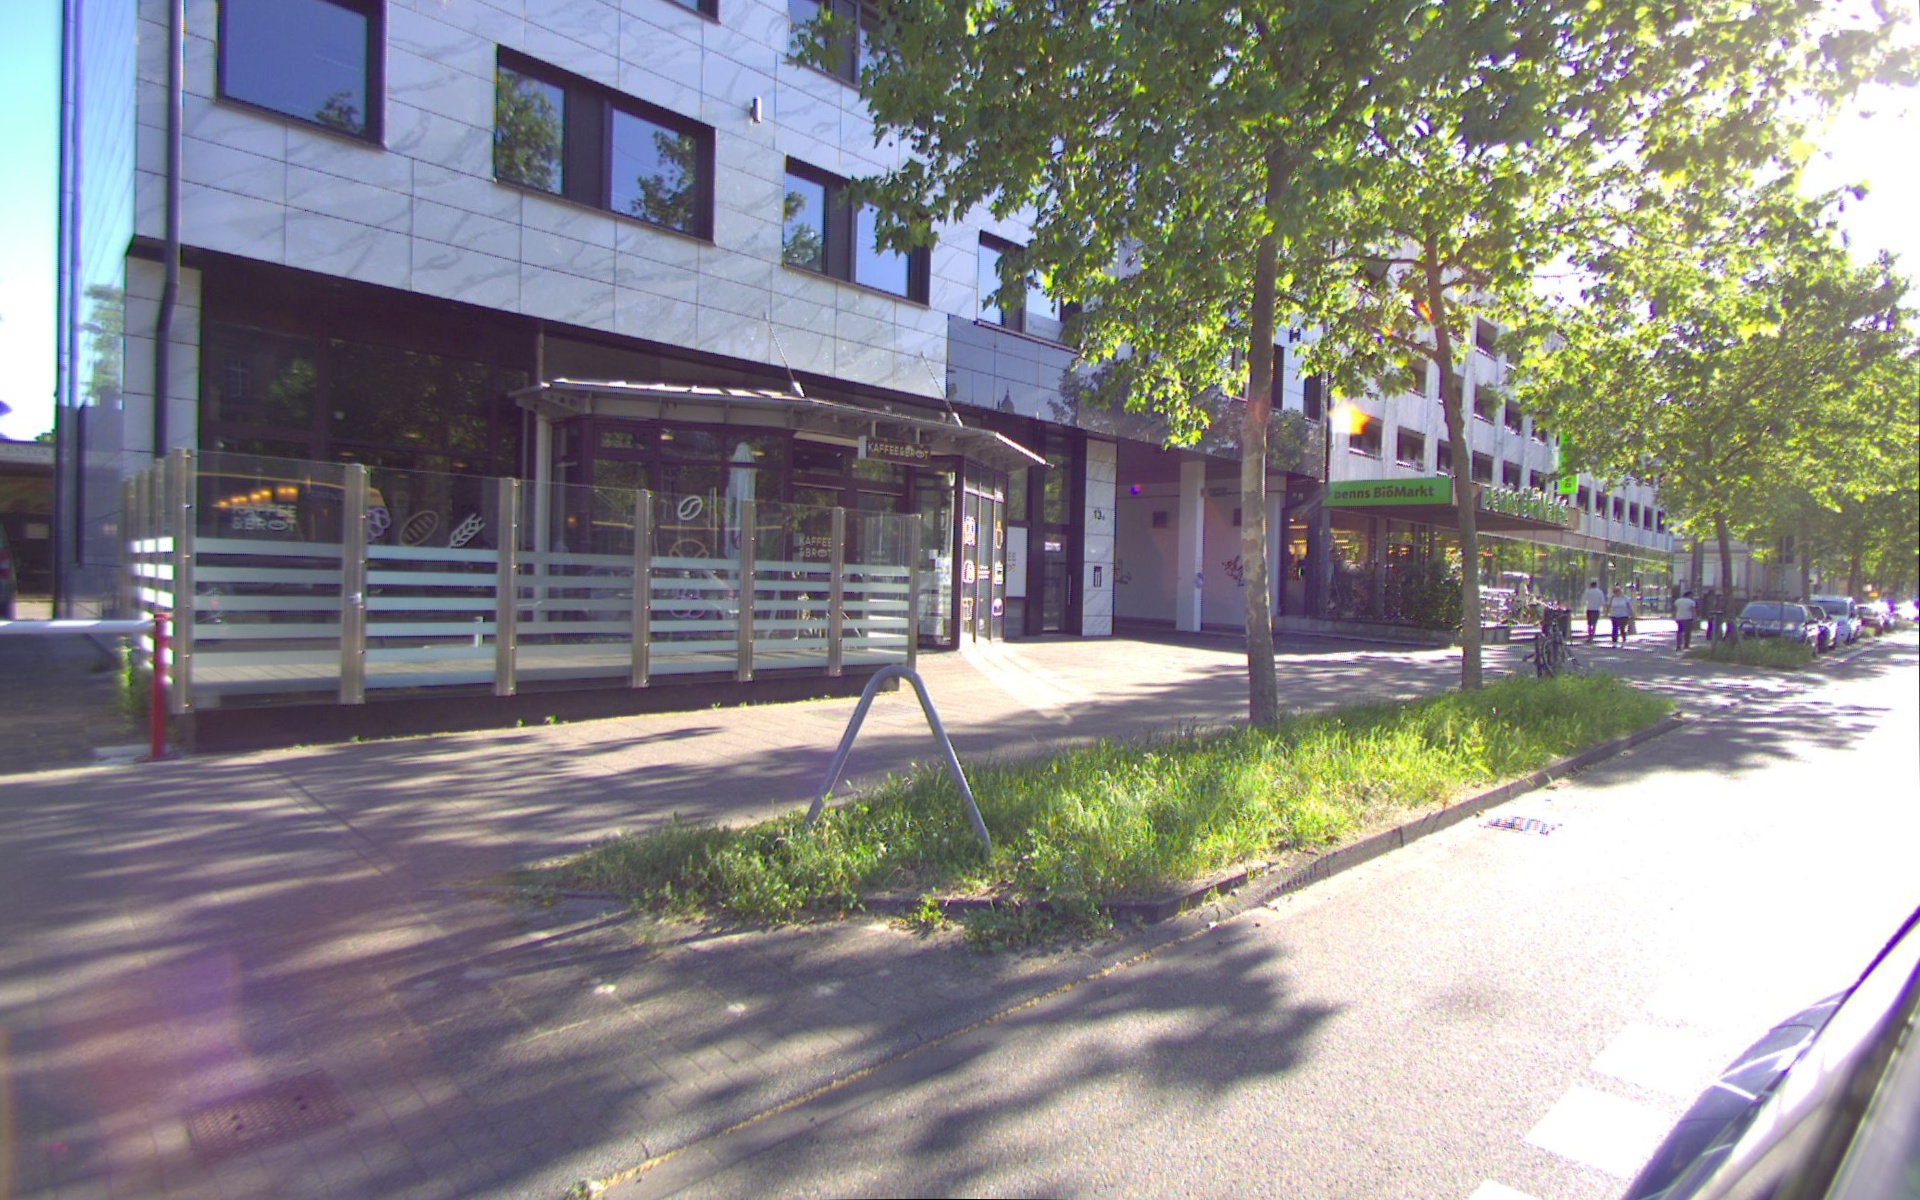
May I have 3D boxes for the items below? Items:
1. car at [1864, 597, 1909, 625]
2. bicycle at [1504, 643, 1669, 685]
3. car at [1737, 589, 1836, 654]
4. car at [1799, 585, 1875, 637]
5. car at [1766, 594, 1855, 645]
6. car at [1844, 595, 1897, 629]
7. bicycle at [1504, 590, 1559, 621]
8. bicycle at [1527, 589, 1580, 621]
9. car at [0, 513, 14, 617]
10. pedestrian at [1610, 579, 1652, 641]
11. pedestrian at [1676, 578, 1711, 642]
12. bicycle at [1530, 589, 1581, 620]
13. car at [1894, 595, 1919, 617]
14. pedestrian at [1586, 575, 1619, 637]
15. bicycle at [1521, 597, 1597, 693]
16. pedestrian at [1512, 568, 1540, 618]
[{"bbox_3d":[51.700,0.583,56.456,3.866,1.459,1.627,0,3,-45],"label":"car"},{"bbox_3d":[8.409,0.839,13.603,1.366,0.357,1.610,0,2,-44],"label":"bicycle"},{"bbox_3d":[21.826,0.511,26.688,3.934,1.569,1.566,0,1,-44],"label":"car"},{"bbox_3d":[33.318,0.388,38.400,4.320,1.814,1.766,0,2,-44],"label":"car"},{"bbox_3d":[26.640,0.559,31.639,1.762,1.436,4.624,1,1,45],"label":"car"},{"bbox_3d":[44.359,0.541,49.273,1.674,1.455,3.631,5,4,44],"label":"car"},{"bbox_3d":[20.026,0.185,35.501,0.573,0.927,1.656,5,2,-17],"label":"bicycle"},{"bbox_3d":[22.576,0.181,38.531,0.573,1.068,1.710,3,2,-17],"label":"bicycle"},{"bbox_3d":[-17.256,-0.636,17.292,1.568,1.692,3.614,0,2,-43],"label":"car"},{"bbox_3d":[18.498,0.269,27.908,0.853,1.632,0.699,1,3,-42],"label":"pedestrian"},{"bbox_3d":[20.279,0.259,27.983,1.035,1.725,0.560,0,2,-45],"label":"pedestrian"},{"bbox_3d":[23.204,0.168,39.448,0.573,1.068,1.710,2,3,-17],"label":"bicycle"},{"bbox_3d":[73.396,0.450,77.995,4.204,1.584,1.835,0,1,-45],"label":"car"},{"bbox_3d":[18.726,0.168,29.494,0.864,1.766,0.560,0,2,-45],"label":"pedestrian"},{"bbox_3d":[8.049,0.556,13.572,0.785,1.147,1.824,2,2,33],"label":"bicycle"},{"bbox_3d":[20.567,-0.272,36.796,0.607,1.735,0.609,8,4,21],"label":"pedestrian"}]
